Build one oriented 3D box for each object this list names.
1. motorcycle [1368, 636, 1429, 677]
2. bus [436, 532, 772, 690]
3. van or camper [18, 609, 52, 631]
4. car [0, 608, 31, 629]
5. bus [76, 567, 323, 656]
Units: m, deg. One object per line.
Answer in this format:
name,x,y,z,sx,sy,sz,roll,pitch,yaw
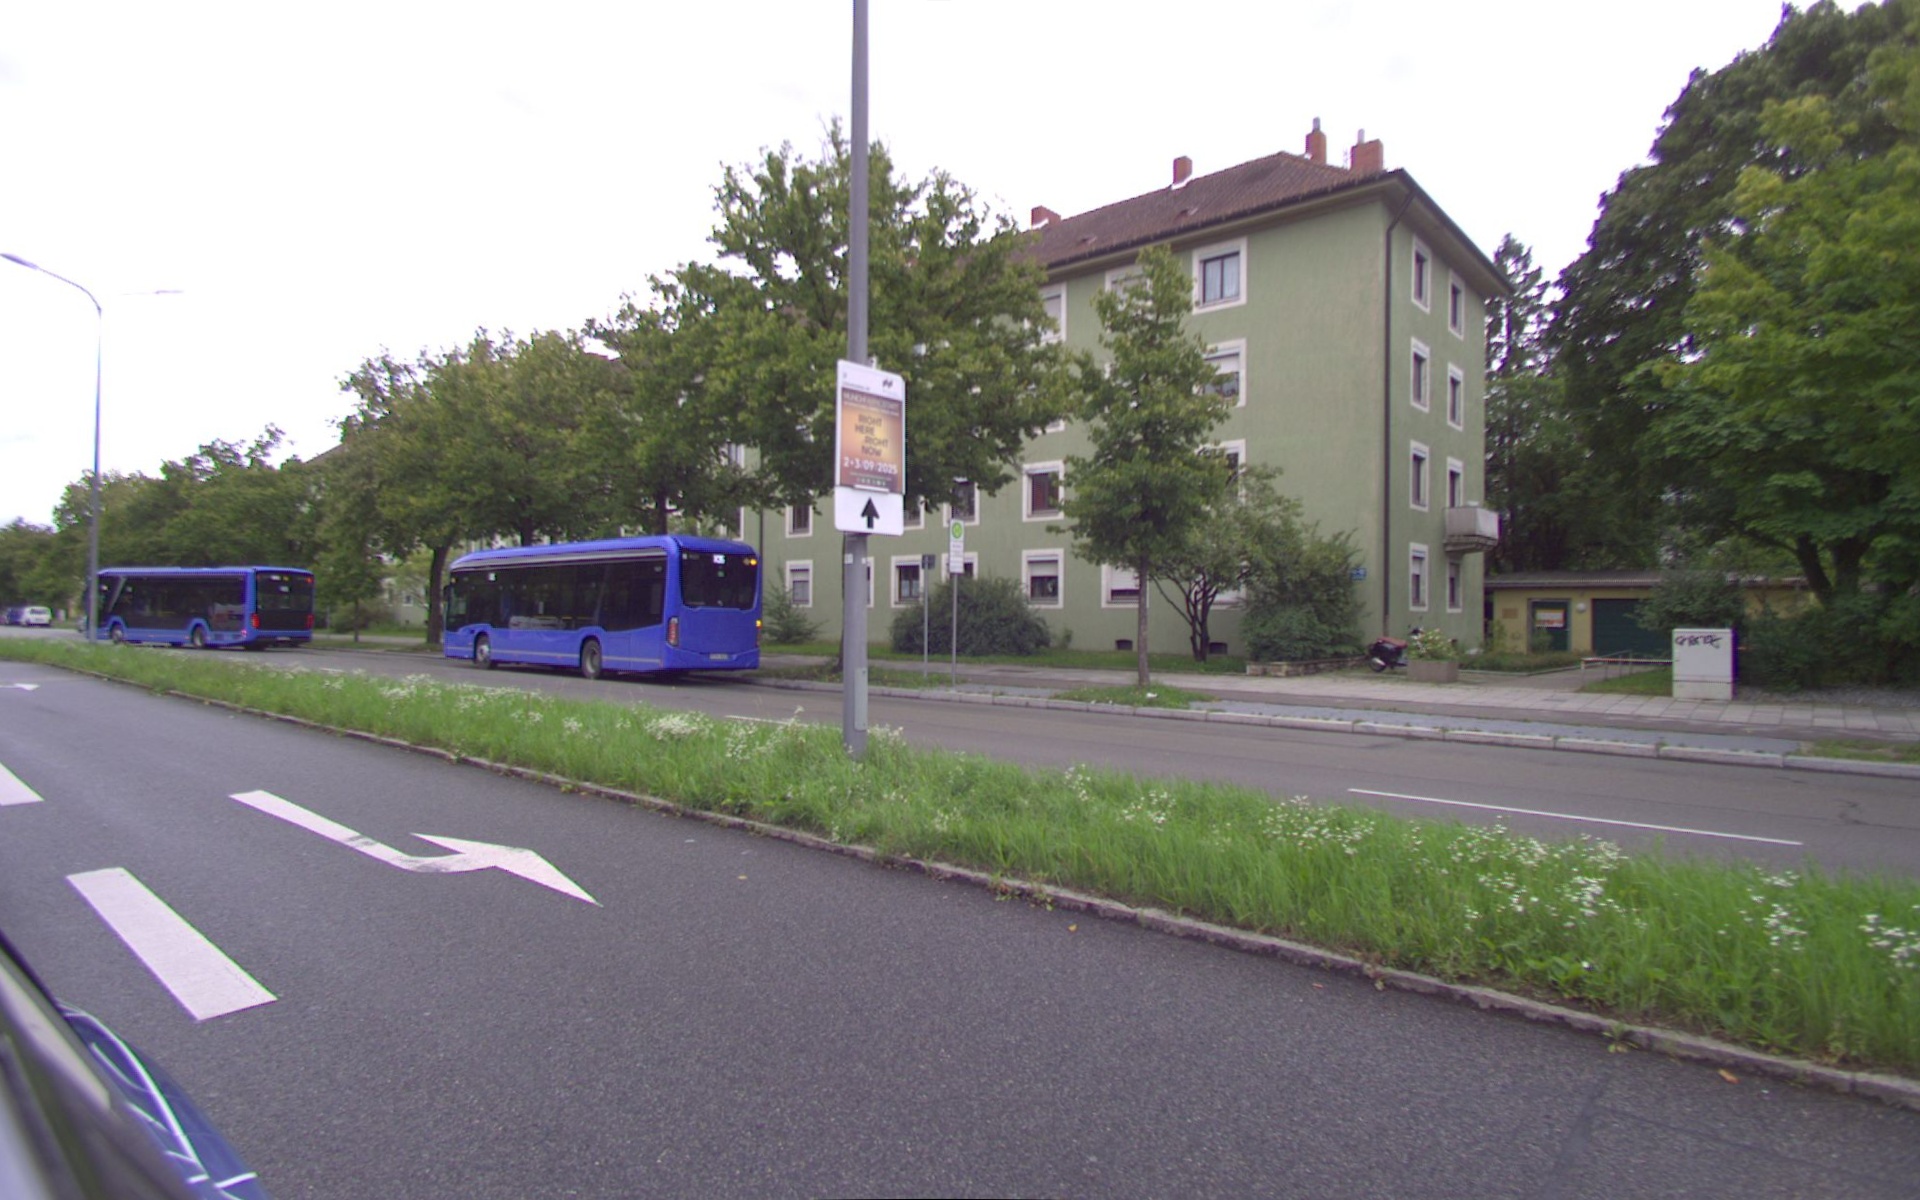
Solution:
motorcycle,10.264,1.311,23.692,1.234,0.889,0.429,-1,-1,41
bus,-9.842,0.328,26.587,12.044,3.369,2.716,-1,-3,41
van or camper,-86.908,1.842,95.065,3.998,2.029,1.973,-1,-1,41
car,-96.916,1.888,103.819,3.998,2.029,1.973,-1,-1,41
bus,-31.765,0.446,42.060,12.203,3.369,2.731,0,-2,25
